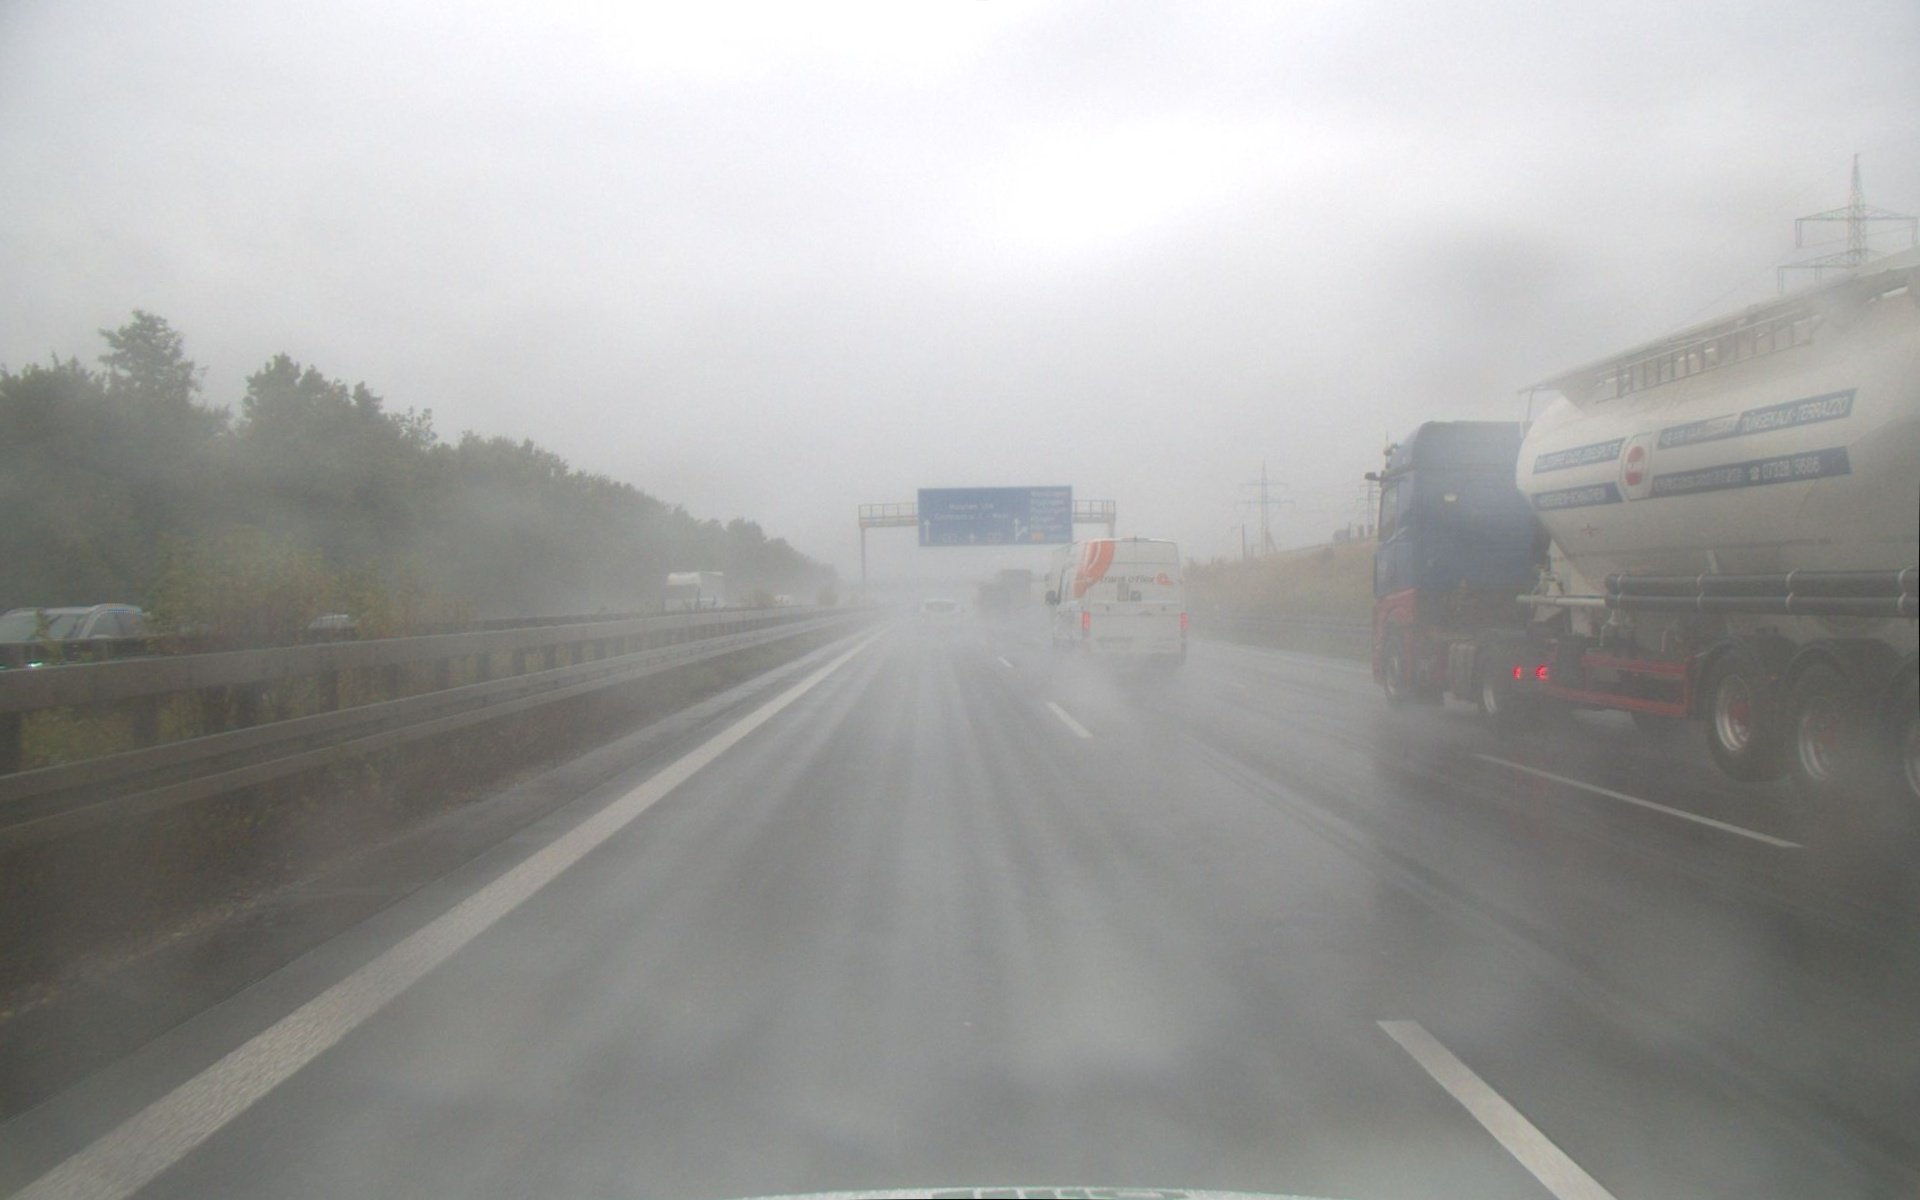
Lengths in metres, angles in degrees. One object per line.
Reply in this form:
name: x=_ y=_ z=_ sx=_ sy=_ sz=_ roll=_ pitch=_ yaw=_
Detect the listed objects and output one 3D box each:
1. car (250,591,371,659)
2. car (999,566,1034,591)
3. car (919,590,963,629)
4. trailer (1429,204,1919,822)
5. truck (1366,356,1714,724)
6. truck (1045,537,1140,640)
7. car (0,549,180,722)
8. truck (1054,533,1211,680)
car: x=-15.827 y=0.575 z=40.475 sx=1.551 sy=1.520 sz=3.741 roll=1 pitch=1 yaw=-2
car: x=4.834 y=-1.847 z=143.293 sx=2.731 sy=2.049 sz=4.992 roll=1 pitch=1 yaw=-1
car: x=-0.731 y=0.325 z=62.270 sx=1.573 sy=1.361 sz=3.847 roll=1 pitch=1 yaw=-1
trailer: x=7.236 y=-0.611 z=15.118 sx=2.447 sy=3.950 sz=11.063 roll=1 pitch=1 yaw=-2
truck: x=7.057 y=-0.693 z=20.877 sx=2.446 sy=4.053 sz=5.074 roll=1 pitch=1 yaw=-2
truck: x=6.494 y=-0.498 z=83.940 sx=2.978 sy=4.668 sz=16.344 roll=1 pitch=0 yaw=-2
car: x=-11.707 y=0.355 z=20.442 sx=1.990 sy=1.918 sz=4.627 roll=1 pitch=1 yaw=-1
truck: x=3.180 y=0.079 z=31.714 sx=2.370 sy=2.536 sz=5.559 roll=1 pitch=1 yaw=0
